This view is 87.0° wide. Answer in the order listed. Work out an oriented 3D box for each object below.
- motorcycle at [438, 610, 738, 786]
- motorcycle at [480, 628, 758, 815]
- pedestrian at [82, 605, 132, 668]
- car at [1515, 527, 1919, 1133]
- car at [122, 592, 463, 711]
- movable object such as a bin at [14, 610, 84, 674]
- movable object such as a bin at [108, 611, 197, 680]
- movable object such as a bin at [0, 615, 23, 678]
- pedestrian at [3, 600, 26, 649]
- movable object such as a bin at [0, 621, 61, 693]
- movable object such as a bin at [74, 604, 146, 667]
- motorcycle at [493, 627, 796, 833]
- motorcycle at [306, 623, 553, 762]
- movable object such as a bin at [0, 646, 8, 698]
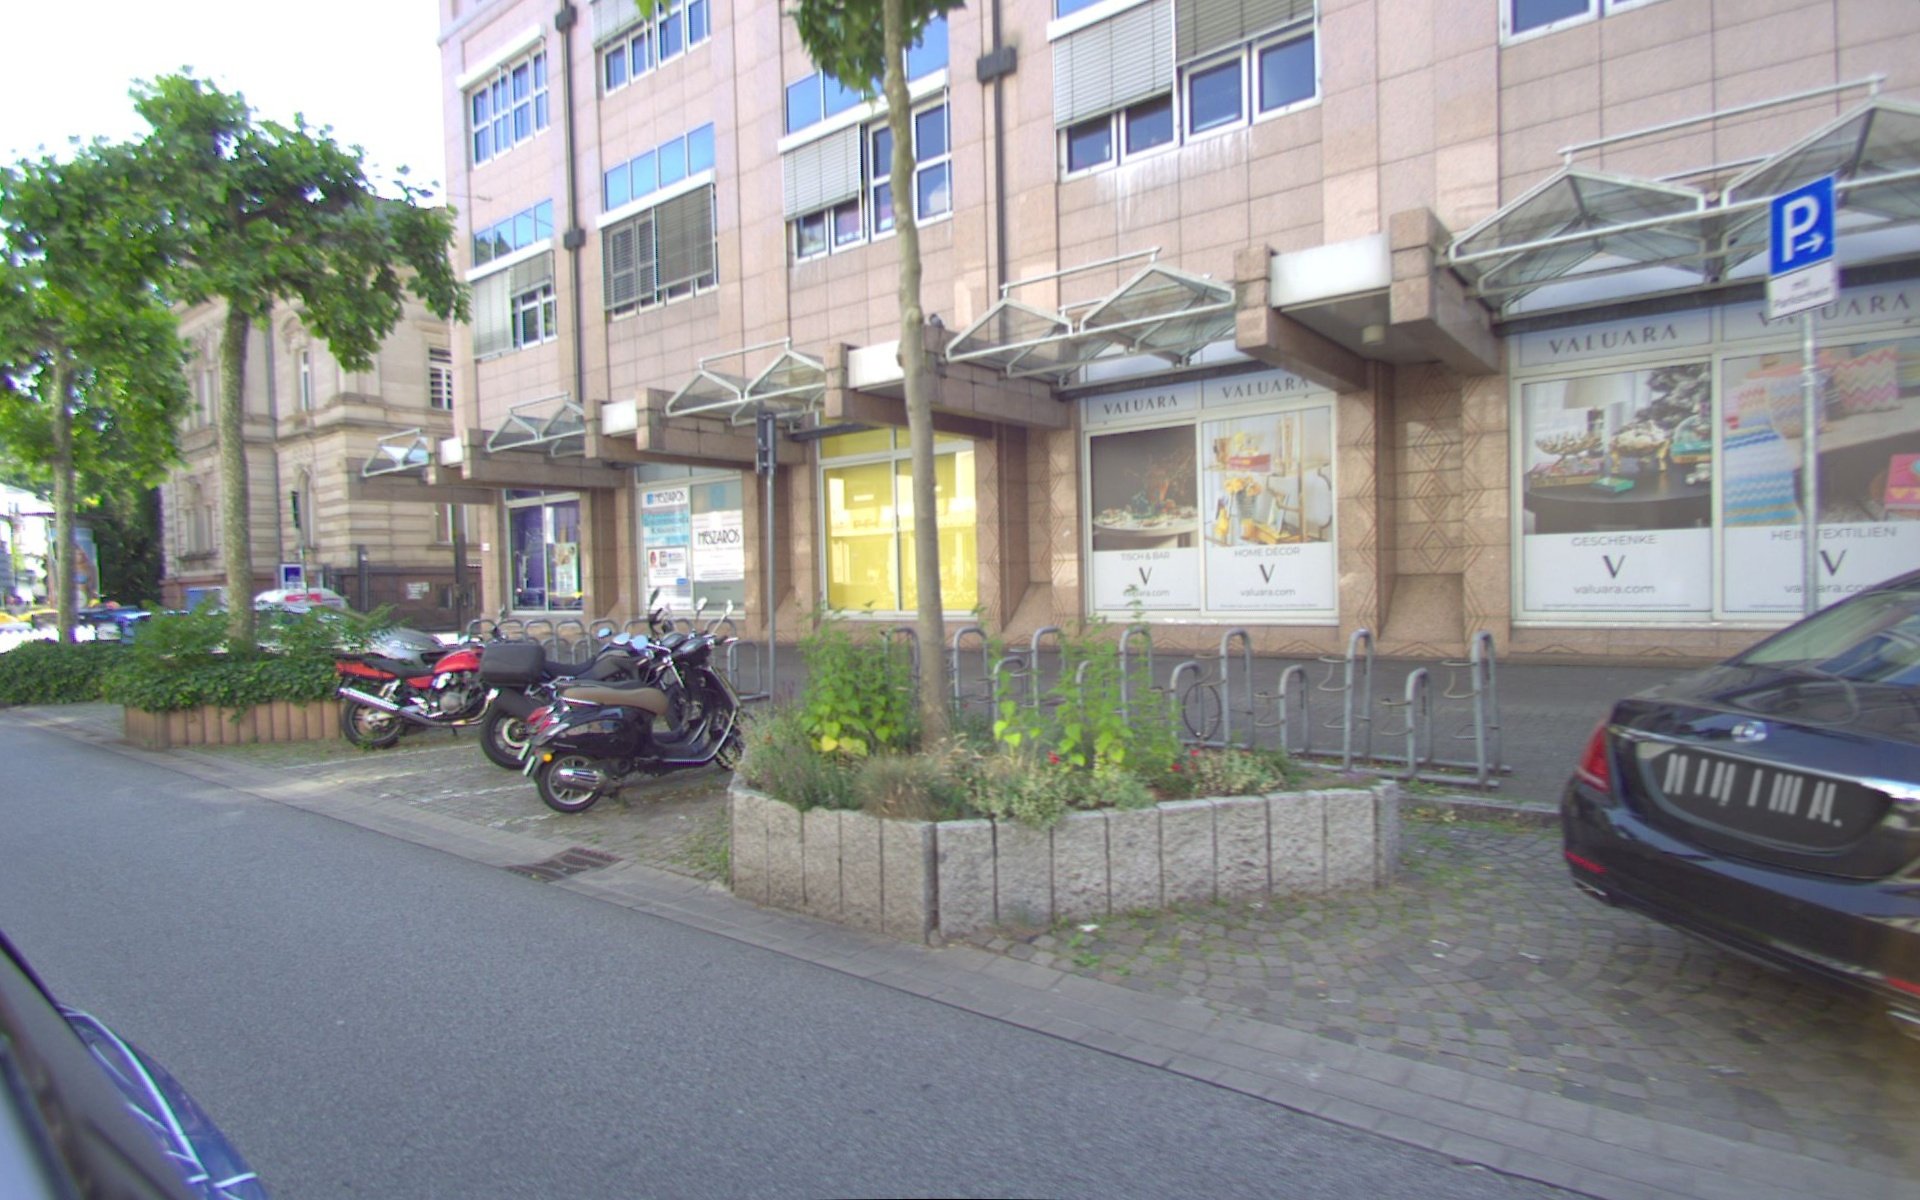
[{"bbox_3d":[-3.385,0.796,9.243,2.313,1.277,1.298,-3,1,-32],"label":"motorcycle"},{"bbox_3d":[-2.623,0.870,7.868,1.884,1.178,0.730,-3,1,-32],"label":"motorcycle"},{"bbox_3d":[-24.798,1.047,29.426,0.746,1.738,0.882,-1,2,31],"label":"pedestrian"},{"bbox_3d":[4.655,0.462,3.325,4.681,1.544,1.995,-3,1,-10],"label":"car"},{"bbox_3d":[-10.297,0.731,15.952,3.992,1.505,1.940,-3,1,-11],"label":"car"},{"bbox_3d":[-22.534,1.019,25.036,1.439,1.461,1.111,-2,2,44],"label":"movable object such as a bin"},{"bbox_3d":[-17.143,0.953,21.495,1.078,1.309,1.198,-3,2,38],"label":"movable object such as a bin"},{"bbox_3d":[-23.290,1.143,24.221,1.439,1.461,1.111,-2,2,44],"label":"movable object such as a bin"},{"bbox_3d":[-33.325,0.841,35.674,0.542,1.677,0.938,-2,2,-43],"label":"pedestrian"},{"bbox_3d":[-18.374,1.092,19.607,0.852,1.309,1.265,-1,2,38],"label":"movable object such as a bin"},{"bbox_3d":[-21.661,0.888,25.789,1.364,1.461,1.196,-2,2,44],"label":"movable object such as a bin"},{"bbox_3d":[-2.228,0.846,7.227,1.884,1.178,0.762,-3,1,-32],"label":"motorcycle"},{"bbox_3d":[-5.433,0.905,10.528,2.142,1.178,0.923,-3,1,-24],"label":"motorcycle"},{"bbox_3d":[-17.571,1.305,18.136,0.495,0.946,0.553,-2,-1,12],"label":"movable object such as a bin"}]
